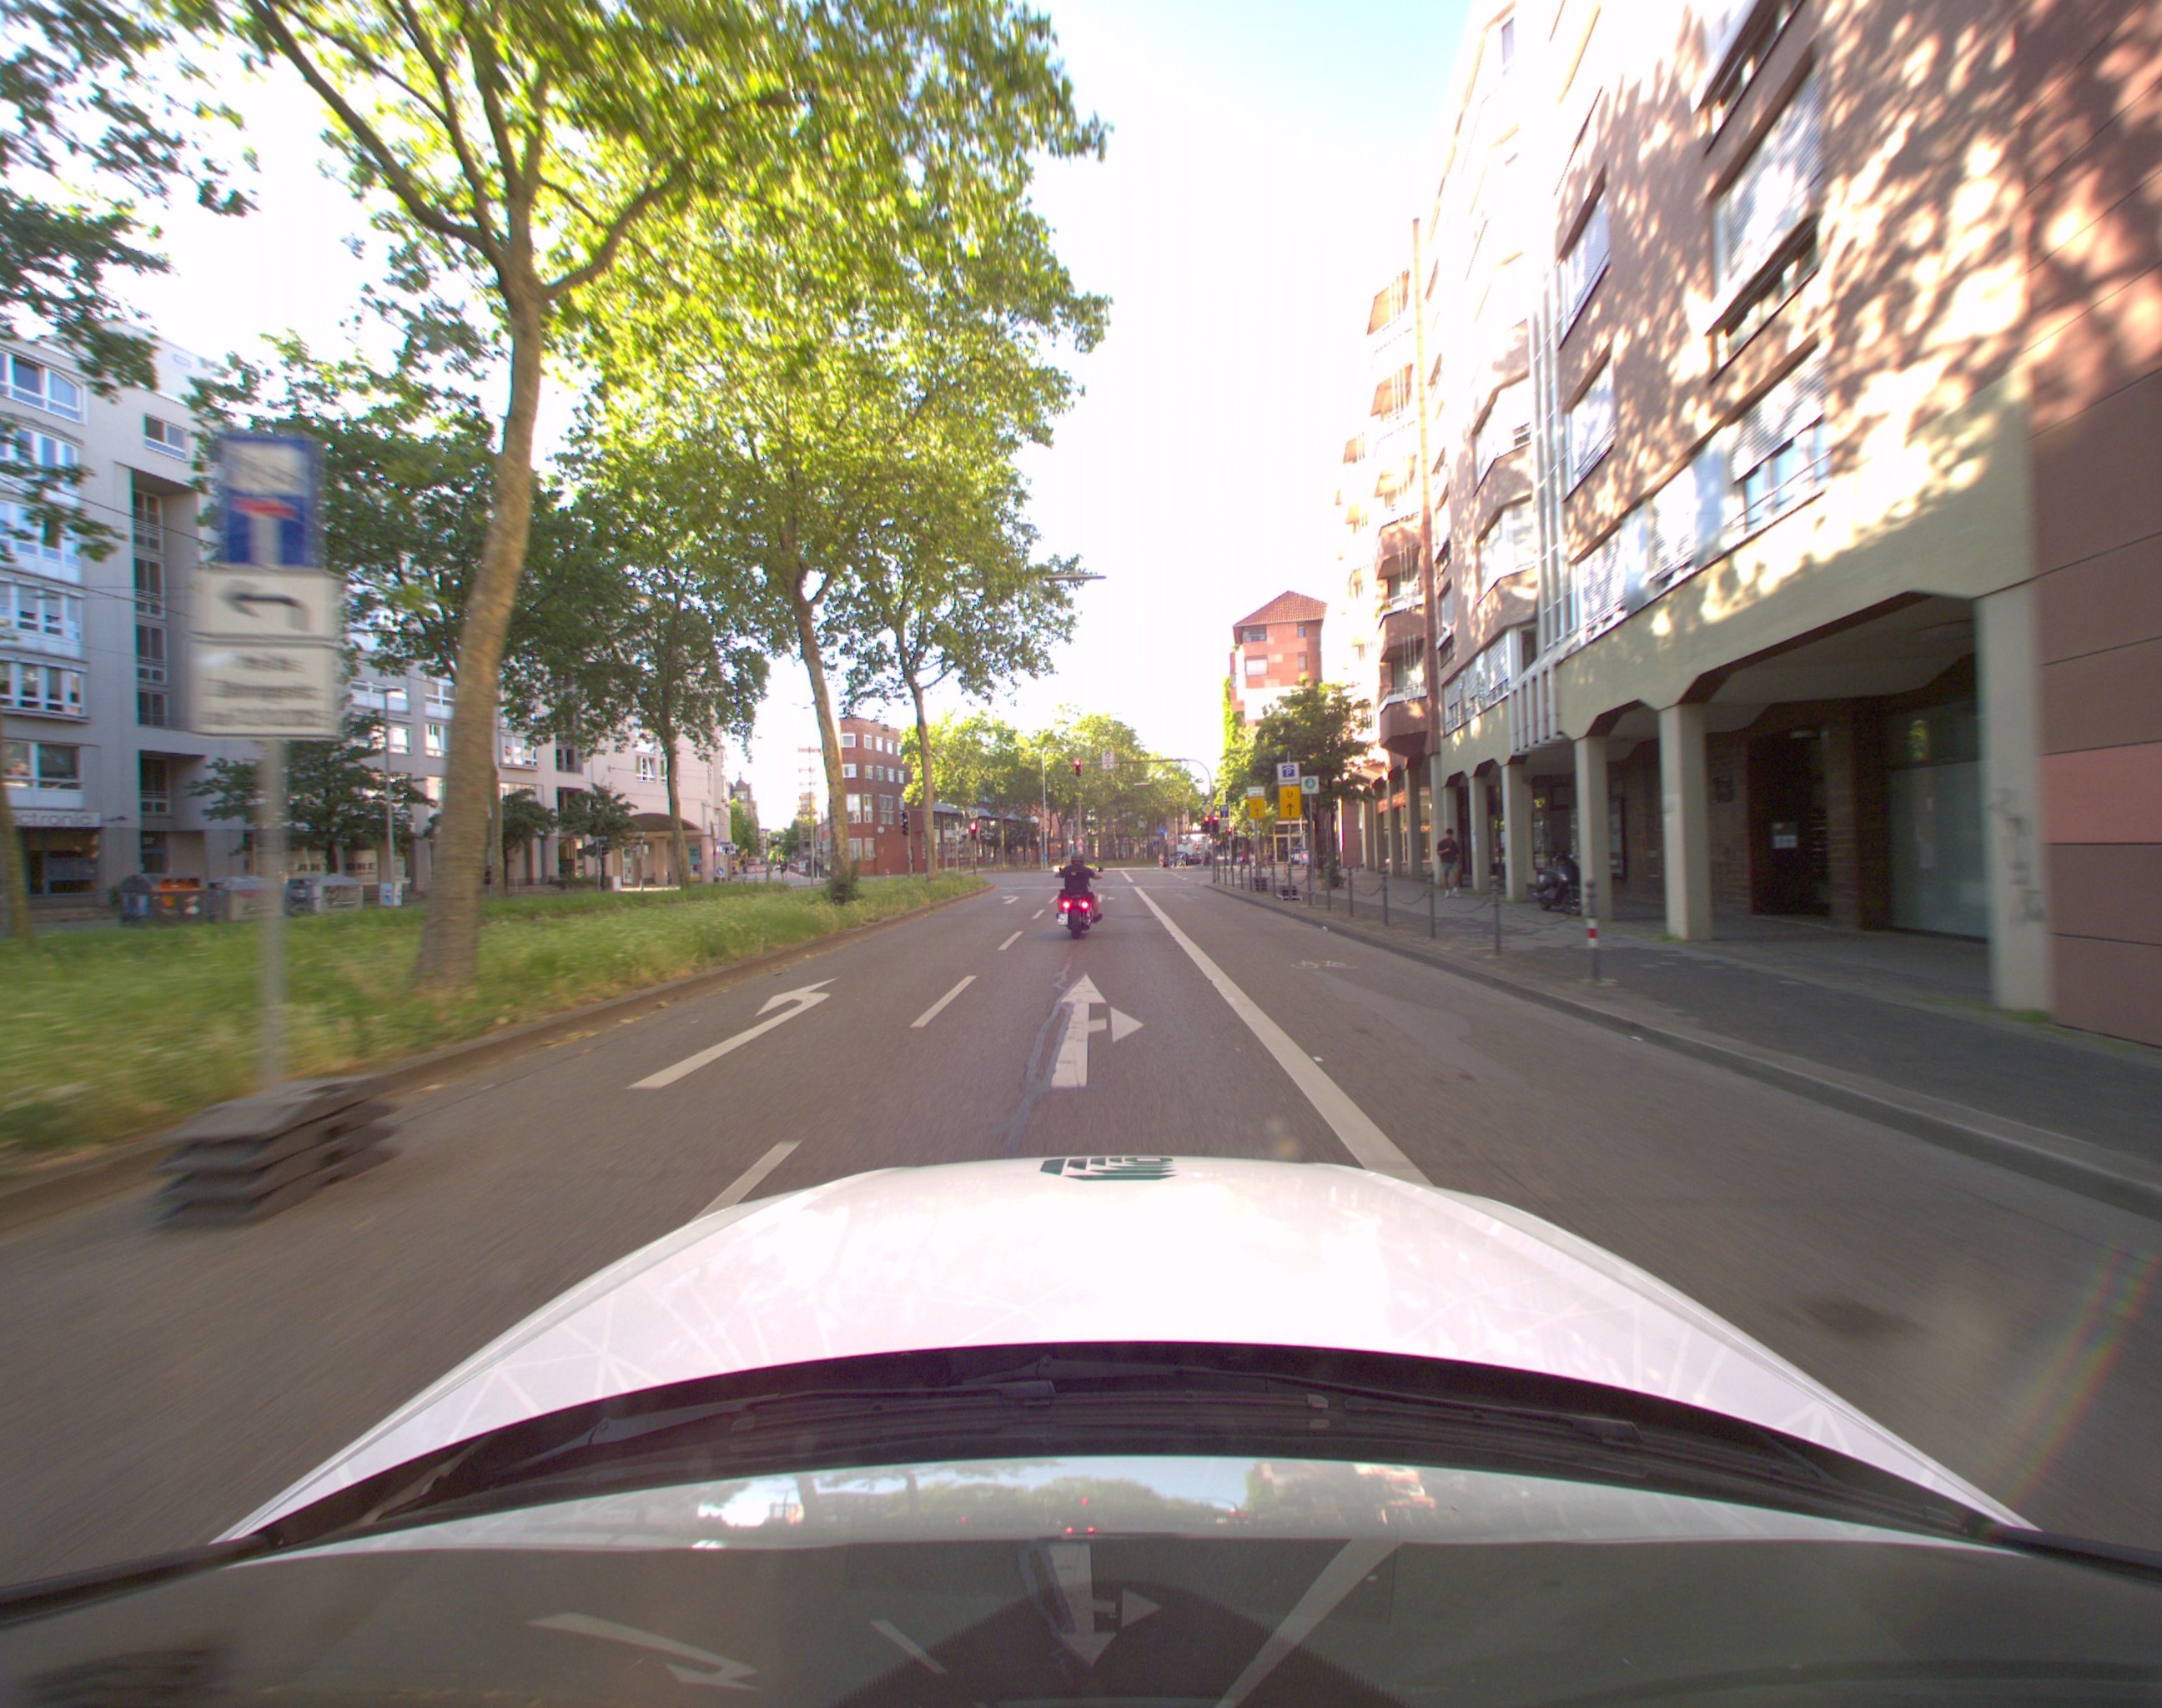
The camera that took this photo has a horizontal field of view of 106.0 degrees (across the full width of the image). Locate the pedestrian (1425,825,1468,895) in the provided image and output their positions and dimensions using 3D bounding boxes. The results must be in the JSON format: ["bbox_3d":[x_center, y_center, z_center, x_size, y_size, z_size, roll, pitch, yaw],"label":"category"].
[{"bbox_3d":[9.396,0.160,20.972,0.776,1.738,0.839,-2,0,11],"label":"pedestrian"}]

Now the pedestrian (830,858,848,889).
[{"bbox_3d":[-12.026,0.976,40.484,0.614,1.503,0.536,-2,0,14],"label":"pedestrian"}]

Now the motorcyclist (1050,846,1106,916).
[{"bbox_3d":[-0.043,0.482,15.099,1.008,1.263,0.774,0,0,2],"label":"motorcyclist"}]

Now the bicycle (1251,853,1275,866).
[{"bbox_3d":[15.375,0.481,68.783,1.730,1.053,0.744,-2,0,29],"label":"bicycle"}]

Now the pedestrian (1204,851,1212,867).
[{"bbox_3d":[12.338,0.460,79.242,0.641,1.578,0.749,-2,0,6],"label":"pedestrian"}]

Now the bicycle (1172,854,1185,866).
[{"bbox_3d":[8.947,0.511,74.986,0.736,1.053,1.748,-2,0,-7],"label":"bicycle"}]

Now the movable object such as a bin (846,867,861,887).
[{"bbox_3d":[-11.364,1.133,40.684,0.506,0.953,0.542,-2,0,15],"label":"movable object such as a bin"}]

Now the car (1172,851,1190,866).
[{"bbox_3d":[11.259,0.448,91.502,1.609,1.619,4.500,-2,0,12],"label":"car"}]

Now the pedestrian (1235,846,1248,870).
[{"bbox_3d":[11.785,0.281,59.740,0.783,1.763,0.609,-2,0,-1],"label":"pedestrian"}]

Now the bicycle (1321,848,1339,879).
[{"bbox_3d":[10.558,0.388,34.566,0.617,1.225,1.934,-2,0,15],"label":"bicycle"}]

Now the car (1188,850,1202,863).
[{"bbox_3d":[15.575,0.352,111.008,1.610,1.610,3.785,-2,0,10],"label":"car"}]

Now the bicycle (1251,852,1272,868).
[{"bbox_3d":[14.525,0.444,65.685,1.558,1.227,0.579,-2,0,8],"label":"bicycle"}]

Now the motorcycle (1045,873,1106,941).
[{"bbox_3d":[-0.061,0.940,15.030,1.014,1.097,2.008,-2,0,2],"label":"motorcycle"}]

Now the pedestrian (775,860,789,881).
[{"bbox_3d":[-27.225,1.481,74.151,0.850,1.869,0.754,-2,0,10],"label":"pedestrian"}]

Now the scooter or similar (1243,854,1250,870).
[{"bbox_3d":[12.154,0.555,59.832,0.392,1.158,1.252,-2,0,8],"label":"scooter or similar"}]

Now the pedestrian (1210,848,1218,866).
[{"bbox_3d":[12.884,0.323,78.958,0.697,1.733,0.769,-2,0,6],"label":"pedestrian"}]

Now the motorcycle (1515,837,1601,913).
[{"bbox_3d":[9.179,0.378,15.763,0.486,1.372,2.092,-2,0,3],"label":"motorcycle"}]

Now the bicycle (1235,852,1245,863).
[{"bbox_3d":[14.476,0.318,74.026,0.733,0.939,1.755,-2,0,7],"label":"bicycle"}]

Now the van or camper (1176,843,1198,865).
[{"bbox_3d":[12.820,-0.050,98.033,2.035,2.540,5.792,-2,0,12],"label":"van or camper"}]

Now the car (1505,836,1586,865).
[{"bbox_3d":[30.059,-0.219,52.833,4.158,1.722,1.807,-2,0,10],"label":"car"}]

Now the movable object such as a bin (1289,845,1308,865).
[{"bbox_3d":[16.774,0.106,62.840,1.400,1.482,0.875,-2,0,14],"label":"movable object such as a bin"}]

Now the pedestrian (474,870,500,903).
[{"bbox_3d":[-30.374,1.664,41.648,0.702,1.638,0.791,-2,0,13],"label":"pedestrian"}]

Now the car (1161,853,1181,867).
[{"bbox_3d":[9.099,0.589,81.893,1.610,1.302,4.325,-2,0,11],"label":"car"}]

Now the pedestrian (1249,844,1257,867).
[{"bbox_3d":[12.646,0.132,59.782,0.456,1.672,0.681,-2,0,7],"label":"pedestrian"}]
